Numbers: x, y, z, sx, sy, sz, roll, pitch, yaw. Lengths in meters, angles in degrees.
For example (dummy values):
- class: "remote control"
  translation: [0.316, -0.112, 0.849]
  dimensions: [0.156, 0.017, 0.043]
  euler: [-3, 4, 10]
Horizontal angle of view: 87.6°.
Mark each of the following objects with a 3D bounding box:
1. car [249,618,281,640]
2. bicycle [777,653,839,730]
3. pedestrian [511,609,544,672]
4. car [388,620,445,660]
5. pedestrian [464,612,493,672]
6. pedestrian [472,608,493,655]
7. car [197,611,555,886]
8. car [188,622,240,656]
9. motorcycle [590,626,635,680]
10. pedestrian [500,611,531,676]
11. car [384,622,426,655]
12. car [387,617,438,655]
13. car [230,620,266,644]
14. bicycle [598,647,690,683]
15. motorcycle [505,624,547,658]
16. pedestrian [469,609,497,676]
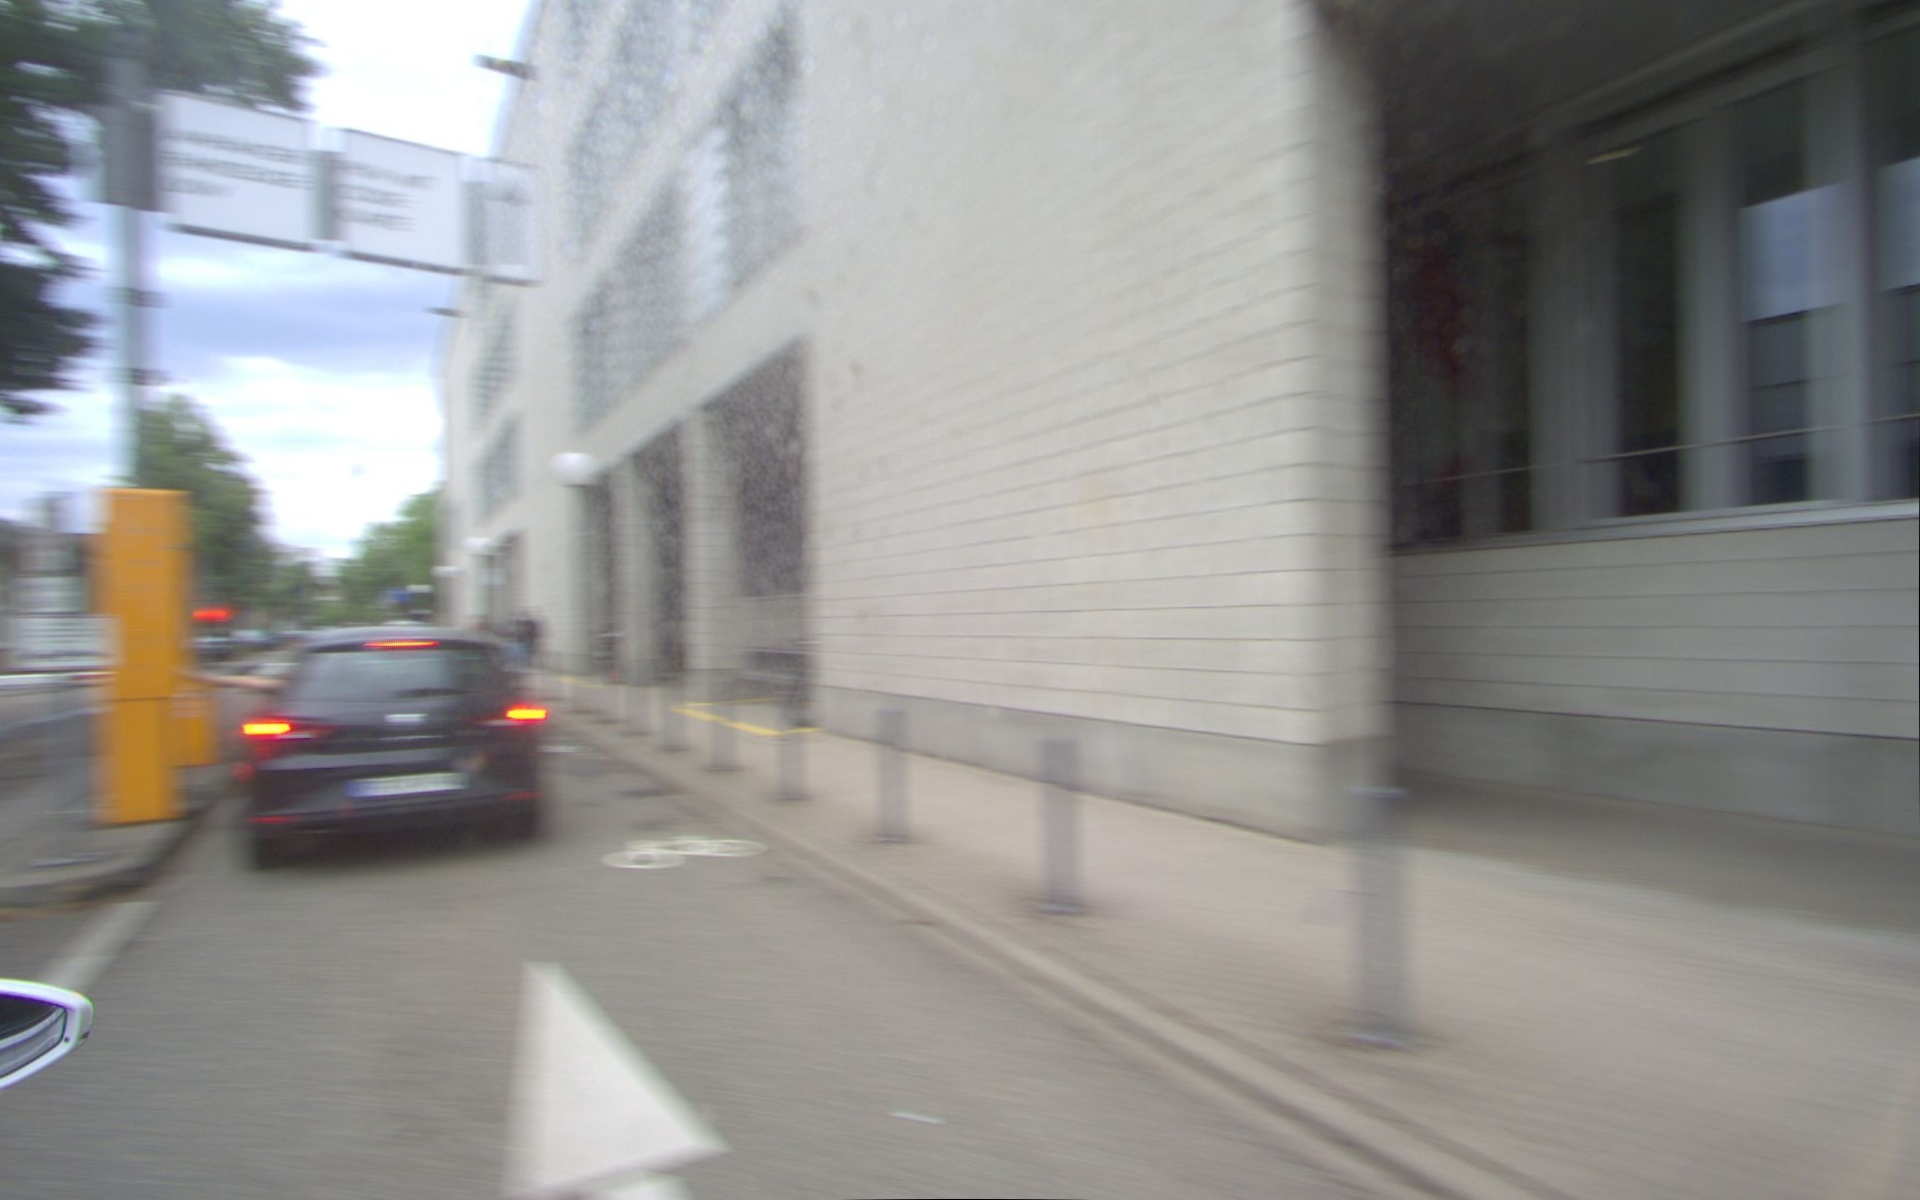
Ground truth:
- class: "car"
  translation: [-52.005, 2.142, 74.958]
  dimensions: [1.752, 1.622, 3.976]
  euler: [0, -1, -33]
- class: "bicycle"
  translation: [-1.991, 1.174, 13.335]
  dimensions: [0.455, 0.761, 2.294]
  euler: [-5, 0, -1]
- class: "pedestrian"
  translation: [-12.193, 1.130, 28.224]
  dimensions: [0.721, 1.722, 0.583]
  euler: [0, 2, -36]
- class: "car"
  translation: [-24.369, 1.783, 44.832]
  dimensions: [1.972, 1.644, 4.404]
  euler: [-2, -1, -31]
- class: "pedestrian"
  translation: [-14.087, 1.224, 29.279]
  dimensions: [0.689, 1.737, 0.486]
  euler: [0, 0, -35]
- class: "pedestrian"
  translation: [-17.743, 1.173, 37.227]
  dimensions: [0.688, 1.737, 0.487]
  euler: [0, 0, -27]
- class: "car"
  translation: [-4.326, 0.824, 7.509]
  dimensions: [1.763, 1.437, 4.107]
  euler: [0, -1, -31]
- class: "car"
  translation: [-37.715, 1.931, 50.716]
  dimensions: [1.751, 1.622, 3.978]
  euler: [0, -1, -32]
- class: "motorcycle"
  translation: [-8.569, 1.285, 24.778]
  dimensions: [0.556, 1.164, 2.215]
  euler: [1, 1, -6]
- class: "pedestrian"
  translation: [-11.905, 1.153, 26.820]
  dimensions: [0.682, 1.722, 0.585]
  euler: [0, 2, -30]
- class: "car"
  translation: [-33.070, 2.269, 59.583]
  dimensions: [1.971, 1.805, 4.404]
  euler: [-3, 0, -31]
- class: "car"
  translation: [-26.655, 1.724, 48.714]
  dimensions: [1.971, 1.644, 4.405]
  euler: [-3, 0, -31]
- class: "car"
  translation: [-49.692, 2.219, 69.961]
  dimensions: [1.751, 1.622, 3.978]
  euler: [0, -1, -31]
- class: "bicycle"
  translation: [-6.955, 1.411, 22.079]
  dimensions: [1.878, 0.708, 0.489]
  euler: [1, 1, -35]
- class: "motorcycle"
  translation: [-16.883, 1.578, 39.049]
  dimensions: [0.747, 1.164, 2.661]
  euler: [1, 1, -6]
- class: "pedestrian"
  translation: [-12.631, 1.124, 26.511]
  dimensions: [0.604, 1.737, 0.572]
  euler: [-2, 1, -29]
